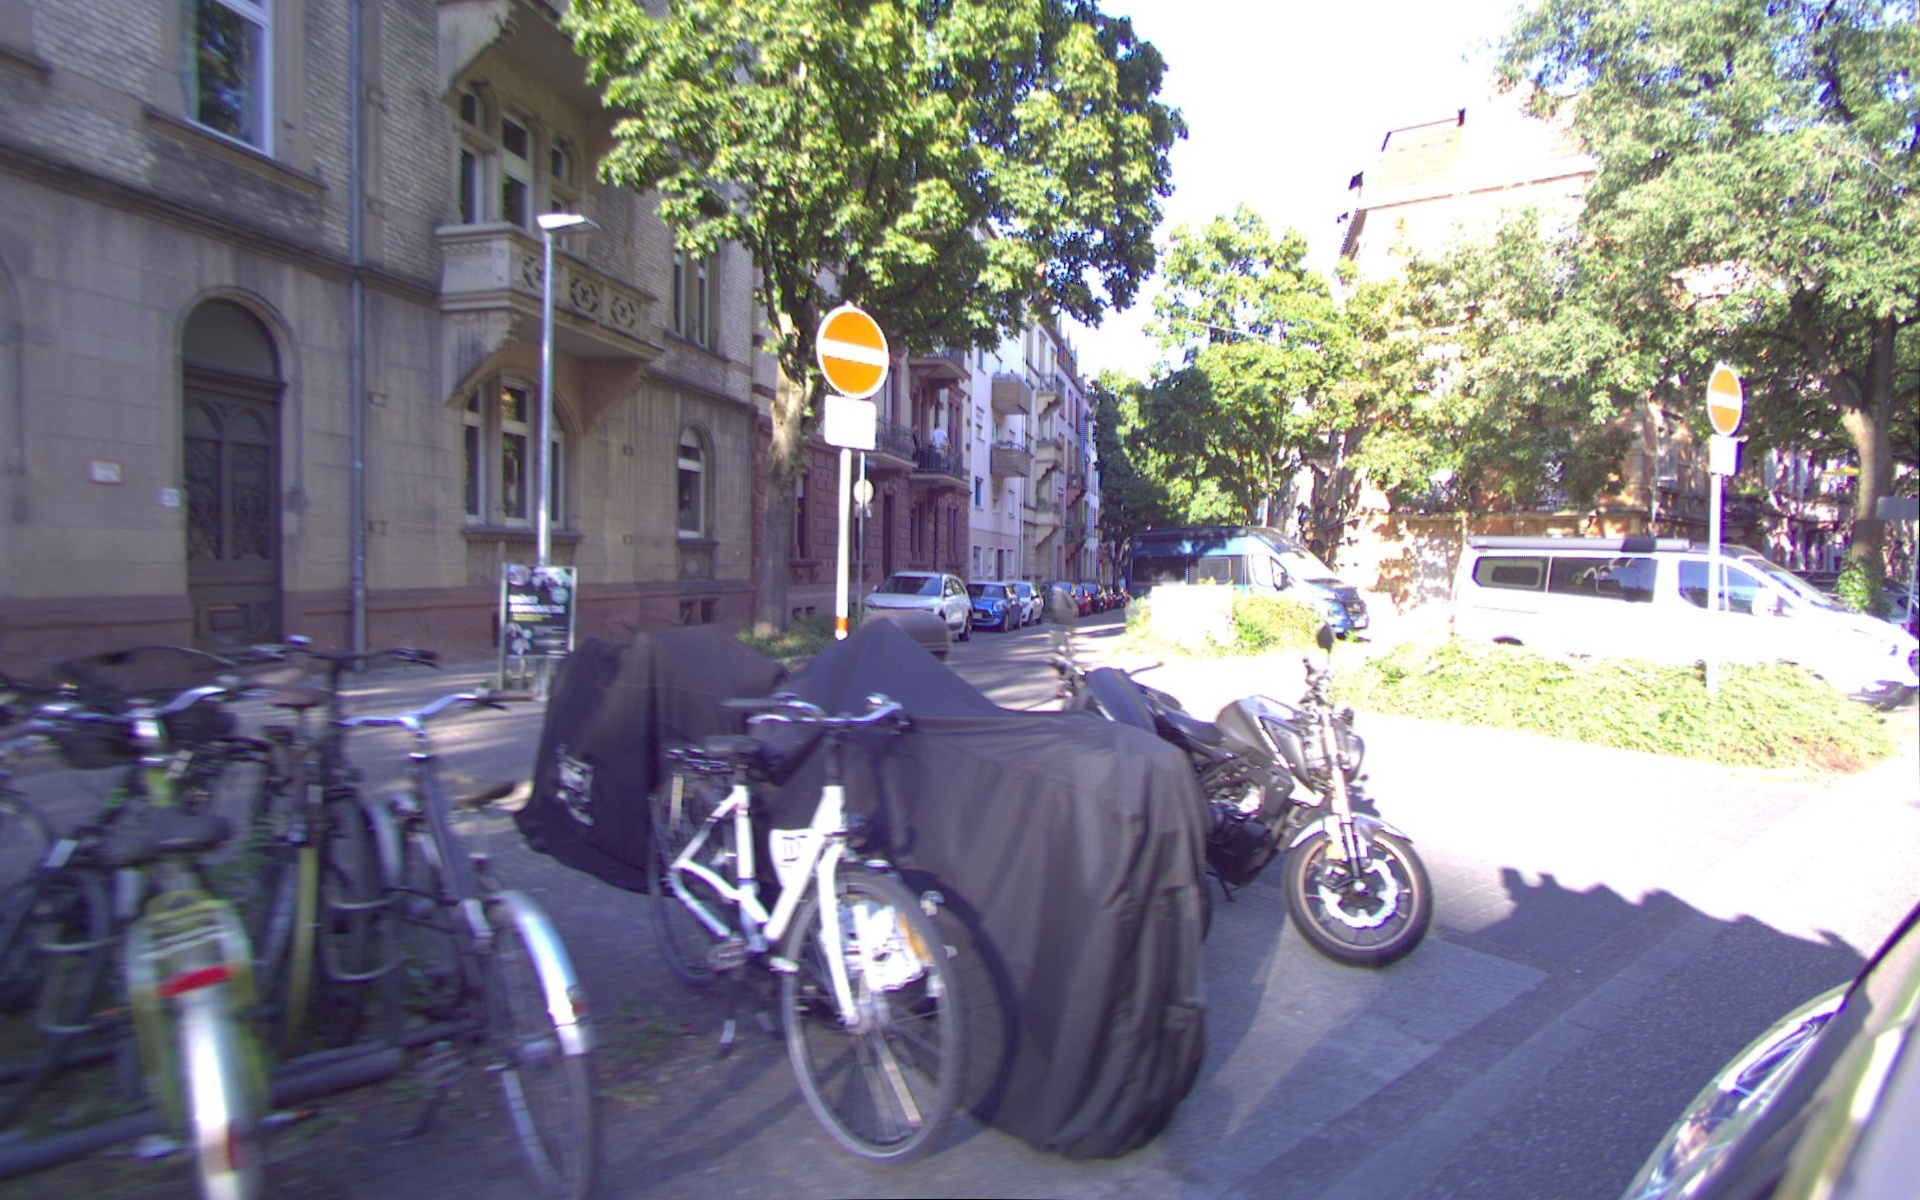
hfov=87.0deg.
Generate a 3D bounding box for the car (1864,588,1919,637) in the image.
[{"bbox_3d":[34.701,0.473,35.789,1.695,1.669,3.890,0,2,-42],"label":"car"}]

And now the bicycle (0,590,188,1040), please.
[{"bbox_3d":[-3.316,0.614,3.741,1.925,1.261,0.472,2,1,45],"label":"bicycle"}]

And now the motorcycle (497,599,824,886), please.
[{"bbox_3d":[-1.672,0.611,5.391,0.888,1.122,2.027,0,3,-41],"label":"motorcycle"}]

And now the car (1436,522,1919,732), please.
[{"bbox_3d":[8.993,0.180,12.750,2.068,2.122,4.985,0,2,-40],"label":"car"}]

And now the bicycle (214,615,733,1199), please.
[{"bbox_3d":[-1.420,0.714,2.712,1.925,1.261,0.638,2,1,45],"label":"bicycle"}]

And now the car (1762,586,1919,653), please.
[{"bbox_3d":[22.379,0.448,24.702,1.854,1.465,4.001,0,2,-35],"label":"car"}]

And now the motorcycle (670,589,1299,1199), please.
[{"bbox_3d":[-0.073,0.679,3.325,0.888,1.300,2.027,0,4,-41],"label":"motorcycle"}]

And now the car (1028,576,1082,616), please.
[{"bbox_3d":[4.146,-0.214,43.579,1.838,1.601,4.230,1,2,12],"label":"car"}]

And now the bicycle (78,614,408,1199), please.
[{"bbox_3d":[-1.775,0.701,2.371,1.925,1.261,0.298,2,1,45],"label":"bicycle"}]

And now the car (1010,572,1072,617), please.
[{"bbox_3d":[3.164,-0.263,38.915,1.838,1.601,4.230,1,2,12],"label":"car"}]

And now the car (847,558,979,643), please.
[{"bbox_3d":[-0.901,-0.048,22.062,1.755,1.630,4.201,2,2,14],"label":"car"}]

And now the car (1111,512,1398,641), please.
[{"bbox_3d":[6.553,-0.570,23.149,5.896,2.569,2.342,2,2,44],"label":"car"}]

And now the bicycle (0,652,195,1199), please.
[{"bbox_3d":[-1.997,0.809,2.166,1.925,1.261,0.298,2,1,45],"label":"bicycle"}]

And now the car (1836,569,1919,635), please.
[{"bbox_3d":[31.568,0.075,32.336,2.121,1.962,5.104,-4,5,-39],"label":"car"}]

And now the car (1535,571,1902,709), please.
[{"bbox_3d":[10.580,0.445,14.339,1.710,1.615,3.849,0,2,-40],"label":"car"}]

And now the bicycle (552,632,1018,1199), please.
[{"bbox_3d":[-0.642,0.753,2.954,0.436,1.141,1.821,0,4,-41],"label":"bicycle"}]

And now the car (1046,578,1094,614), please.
[{"bbox_3d":[5.302,-0.245,48.412,1.838,1.601,4.230,1,2,12],"label":"car"}]

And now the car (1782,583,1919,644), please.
[{"bbox_3d":[25.401,0.351,27.806,1.810,1.516,4.091,0,2,-39],"label":"car"}]

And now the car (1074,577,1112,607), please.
[{"bbox_3d":[7.687,-0.488,58.186,1.838,1.601,4.230,1,2,12],"label":"car"}]

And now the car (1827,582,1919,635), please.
[{"bbox_3d":[29.354,0.301,31.118,3.987,1.492,1.754,5,3,43],"label":"car"}]

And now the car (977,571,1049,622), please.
[{"bbox_3d":[1.884,-0.153,34.616,1.838,1.601,4.230,1,2,12],"label":"car"}]

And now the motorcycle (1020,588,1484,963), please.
[{"bbox_3d":[1.232,0.640,4.687,0.611,1.343,2.017,0,2,-43],"label":"motorcycle"}]

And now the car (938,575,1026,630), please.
[{"bbox_3d":[0.728,0.015,29.929,1.838,1.493,4.230,1,2,12],"label":"car"}]

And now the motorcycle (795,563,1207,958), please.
[{"bbox_3d":[0.071,0.554,4.662,0.682,1.379,2.028,0,3,-40],"label":"motorcycle"}]

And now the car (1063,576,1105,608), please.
[{"bbox_3d":[6.596,-0.479,53.545,1.838,1.601,4.230,1,2,12],"label":"car"}]

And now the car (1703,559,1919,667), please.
[{"bbox_3d":[18.481,0.214,20.992,1.966,2.038,4.622,0,2,-42],"label":"car"}]

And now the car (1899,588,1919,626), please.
[{"bbox_3d":[41.372,0.353,41.062,1.964,1.548,4.565,0,2,-38],"label":"car"}]

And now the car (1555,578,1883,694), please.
[{"bbox_3d":[11.921,0.467,16.095,1.815,1.534,3.849,0,2,-40],"label":"car"}]

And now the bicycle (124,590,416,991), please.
[{"bbox_3d":[-2.916,0.610,4.181,1.925,1.261,0.638,2,1,45],"label":"bicycle"}]

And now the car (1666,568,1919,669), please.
[{"bbox_3d":[16.300,0.278,19.580,1.769,1.713,3.994,0,2,-41],"label":"car"}]

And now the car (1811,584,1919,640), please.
[{"bbox_3d":[27.407,0.369,28.955,1.899,1.473,4.380,0,2,-39],"label":"car"}]
